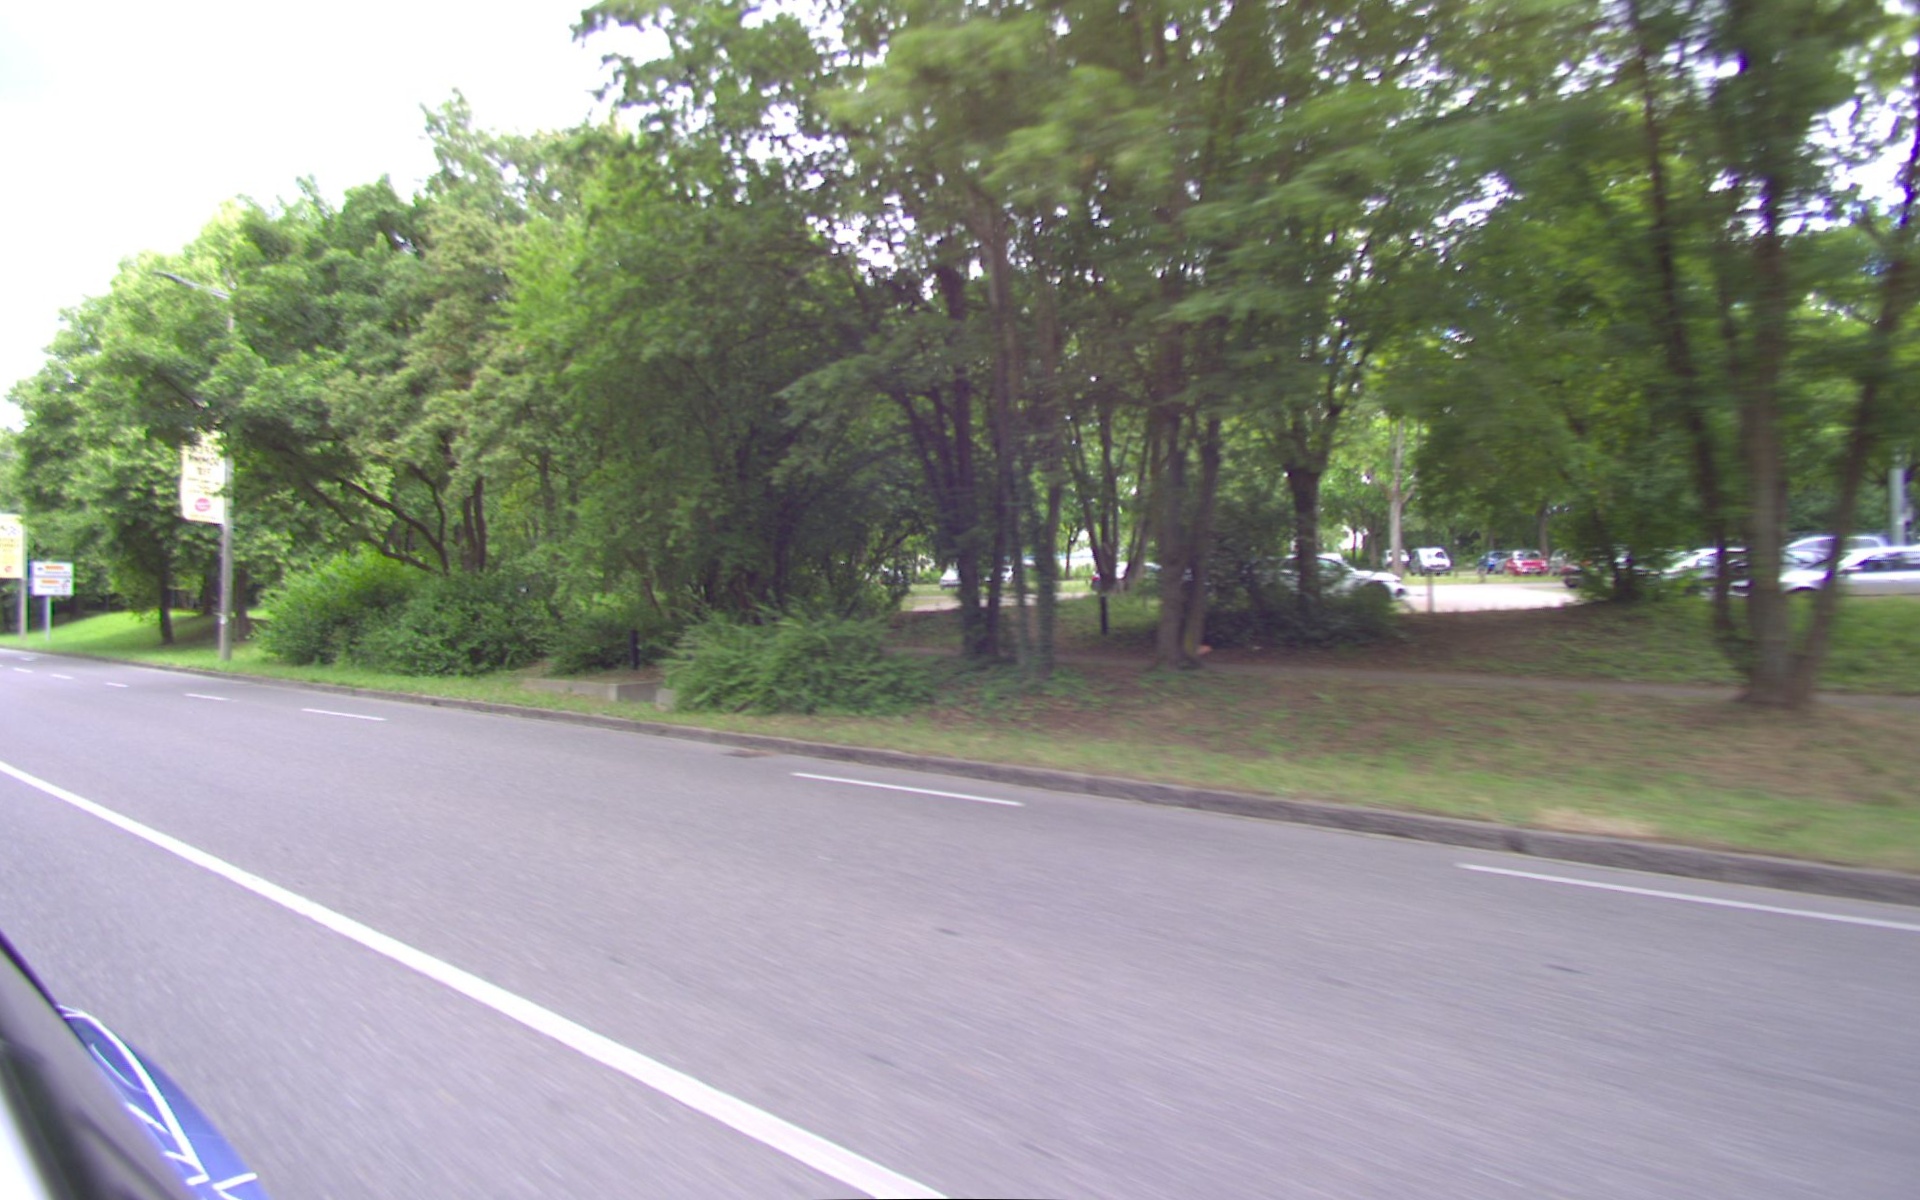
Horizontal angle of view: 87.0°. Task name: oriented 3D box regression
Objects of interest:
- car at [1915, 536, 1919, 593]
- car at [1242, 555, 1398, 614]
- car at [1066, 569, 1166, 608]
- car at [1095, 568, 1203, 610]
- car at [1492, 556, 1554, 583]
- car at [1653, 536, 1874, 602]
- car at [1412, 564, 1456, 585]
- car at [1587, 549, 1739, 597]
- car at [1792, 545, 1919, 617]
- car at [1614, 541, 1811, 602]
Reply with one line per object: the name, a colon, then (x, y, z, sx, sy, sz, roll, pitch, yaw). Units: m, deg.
car: (25.200, -0.902, 23.982, 3.353, 1.425, 1.530, -1, 1, 20)
car: (9.936, -0.406, 28.197, 3.966, 1.497, 1.642, -1, 0, 17)
car: (6.596, -0.479, 42.645, 3.966, 1.497, 1.642, -1, 0, 17)
car: (7.352, -0.422, 39.280, 3.966, 1.497, 1.642, -1, 0, 17)
car: (29.394, -1.572, 52.955, 1.886, 1.219, 3.965, -1, 0, 16)
car: (20.061, -0.741, 25.469, 3.966, 1.497, 1.642, -1, 0, 17)
car: (29.979, -1.574, 64.082, 1.886, 1.219, 3.965, -1, 0, 16)
car: (22.065, -0.834, 31.897, 3.553, 1.363, 1.642, -2, 1, 14)
car: (19.427, -0.416, 20.506, 3.553, 1.390, 1.642, -2, 1, 14)
car: (20.539, -0.750, 27.799, 3.966, 1.497, 1.642, -1, 0, 17)
